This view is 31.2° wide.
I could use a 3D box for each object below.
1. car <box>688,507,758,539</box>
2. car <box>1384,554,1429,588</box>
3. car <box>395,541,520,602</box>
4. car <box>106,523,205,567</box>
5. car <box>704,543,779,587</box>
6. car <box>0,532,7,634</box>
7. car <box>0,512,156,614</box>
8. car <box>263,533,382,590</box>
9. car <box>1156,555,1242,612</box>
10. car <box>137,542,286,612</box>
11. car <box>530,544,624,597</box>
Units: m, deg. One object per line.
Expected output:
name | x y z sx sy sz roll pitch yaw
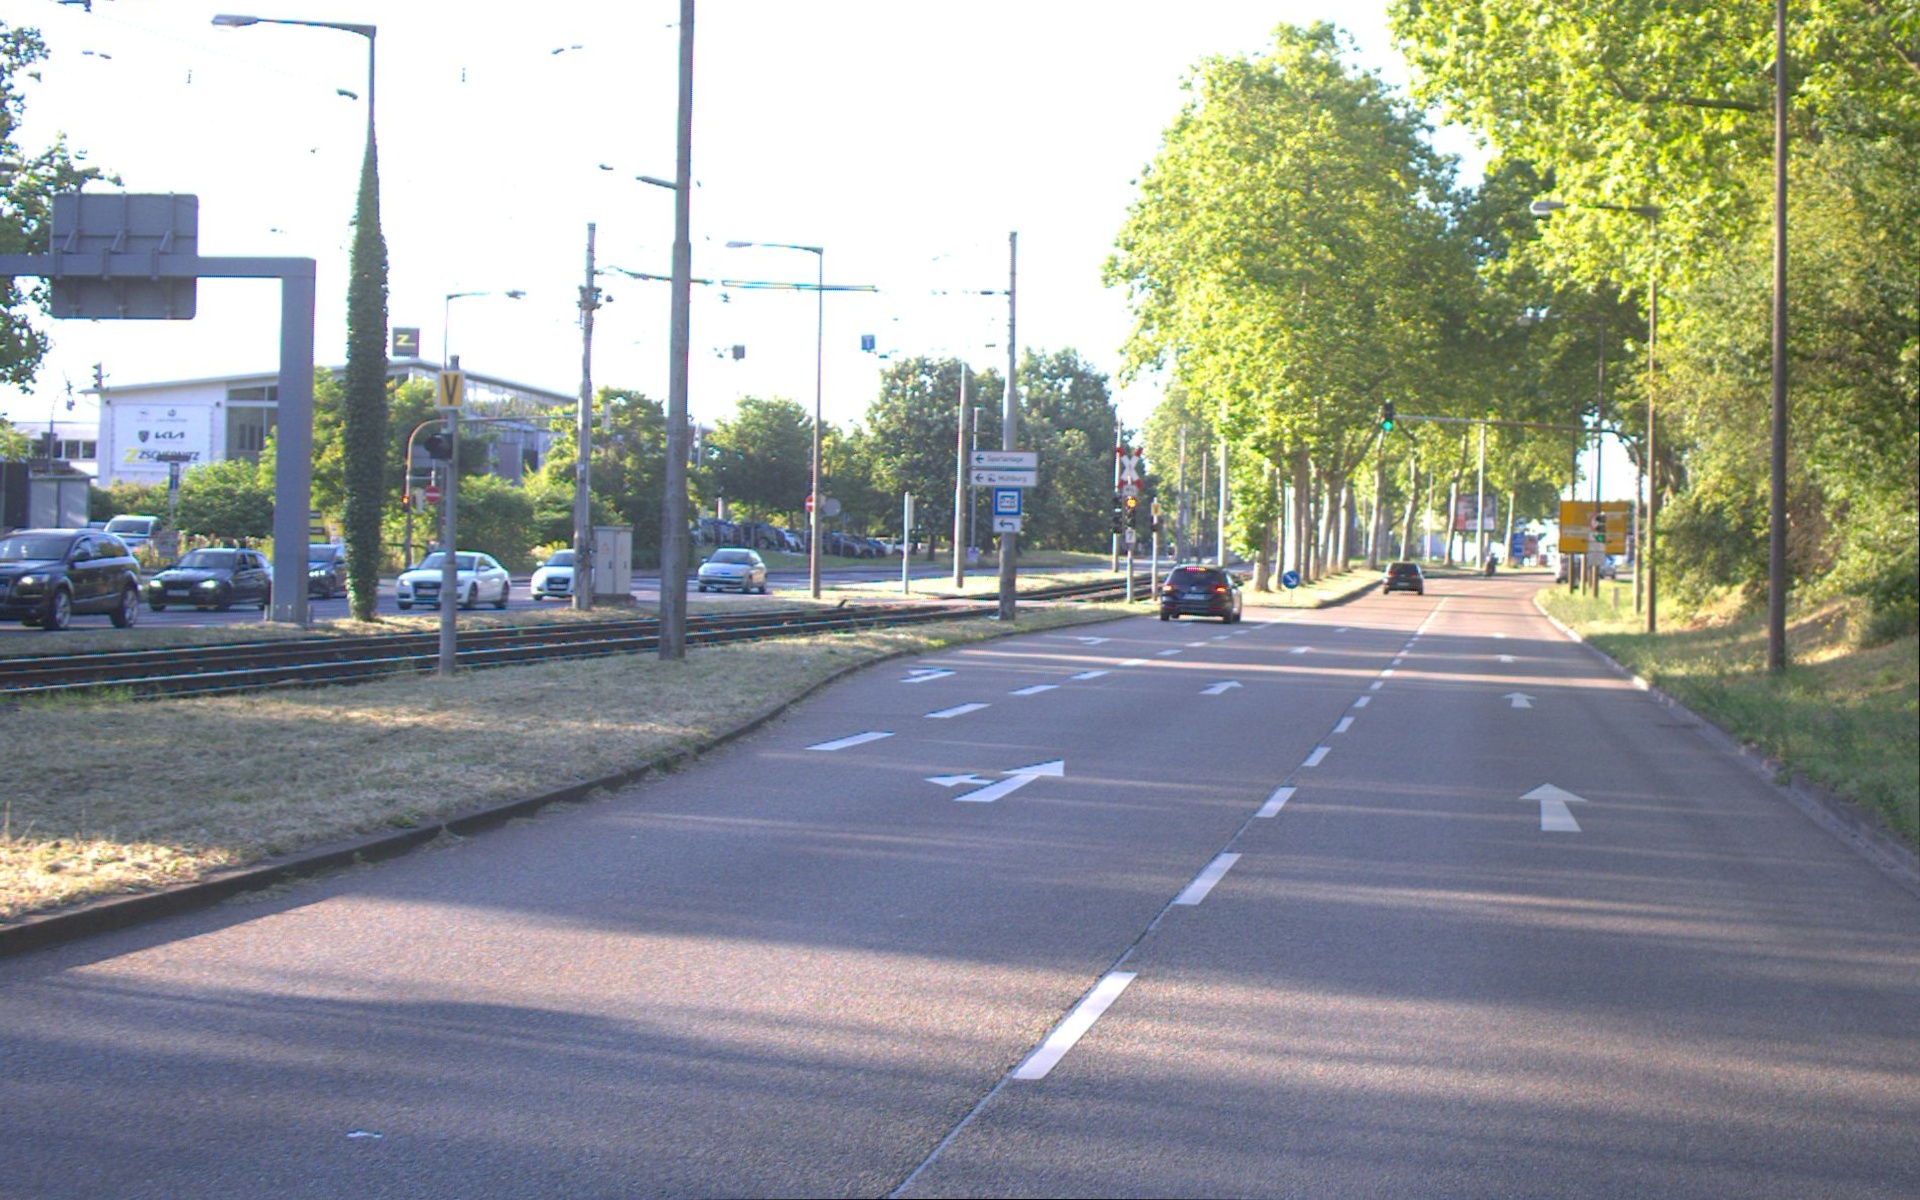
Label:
car | -11.484 -3.732 166.830 3.143 1.387 1.455 3 1 6
car | 19.884 -1.276 153.178 1.793 1.398 3.687 2 0 10
car | -12.215 -0.700 83.837 1.839 1.411 4.598 1 1 7
car | -28.346 -1.921 121.222 1.842 1.437 3.998 3 1 12
car | -7.408 -1.179 116.858 1.654 1.411 4.257 2 1 9
car | -14.454 -0.259 45.730 1.839 1.411 4.017 2 0 10
car | -15.612 -0.649 59.080 1.839 1.649 4.434 3 1 10
car | -17.694 -1.056 95.585 1.839 1.476 4.598 3 1 8
car | 6.055 -0.398 86.723 1.793 1.398 3.687 1 0 10
car | -17.055 -0.529 78.563 1.839 1.476 4.434 3 1 8
car | -10.861 -0.852 97.680 1.654 1.411 4.257 2 1 7
